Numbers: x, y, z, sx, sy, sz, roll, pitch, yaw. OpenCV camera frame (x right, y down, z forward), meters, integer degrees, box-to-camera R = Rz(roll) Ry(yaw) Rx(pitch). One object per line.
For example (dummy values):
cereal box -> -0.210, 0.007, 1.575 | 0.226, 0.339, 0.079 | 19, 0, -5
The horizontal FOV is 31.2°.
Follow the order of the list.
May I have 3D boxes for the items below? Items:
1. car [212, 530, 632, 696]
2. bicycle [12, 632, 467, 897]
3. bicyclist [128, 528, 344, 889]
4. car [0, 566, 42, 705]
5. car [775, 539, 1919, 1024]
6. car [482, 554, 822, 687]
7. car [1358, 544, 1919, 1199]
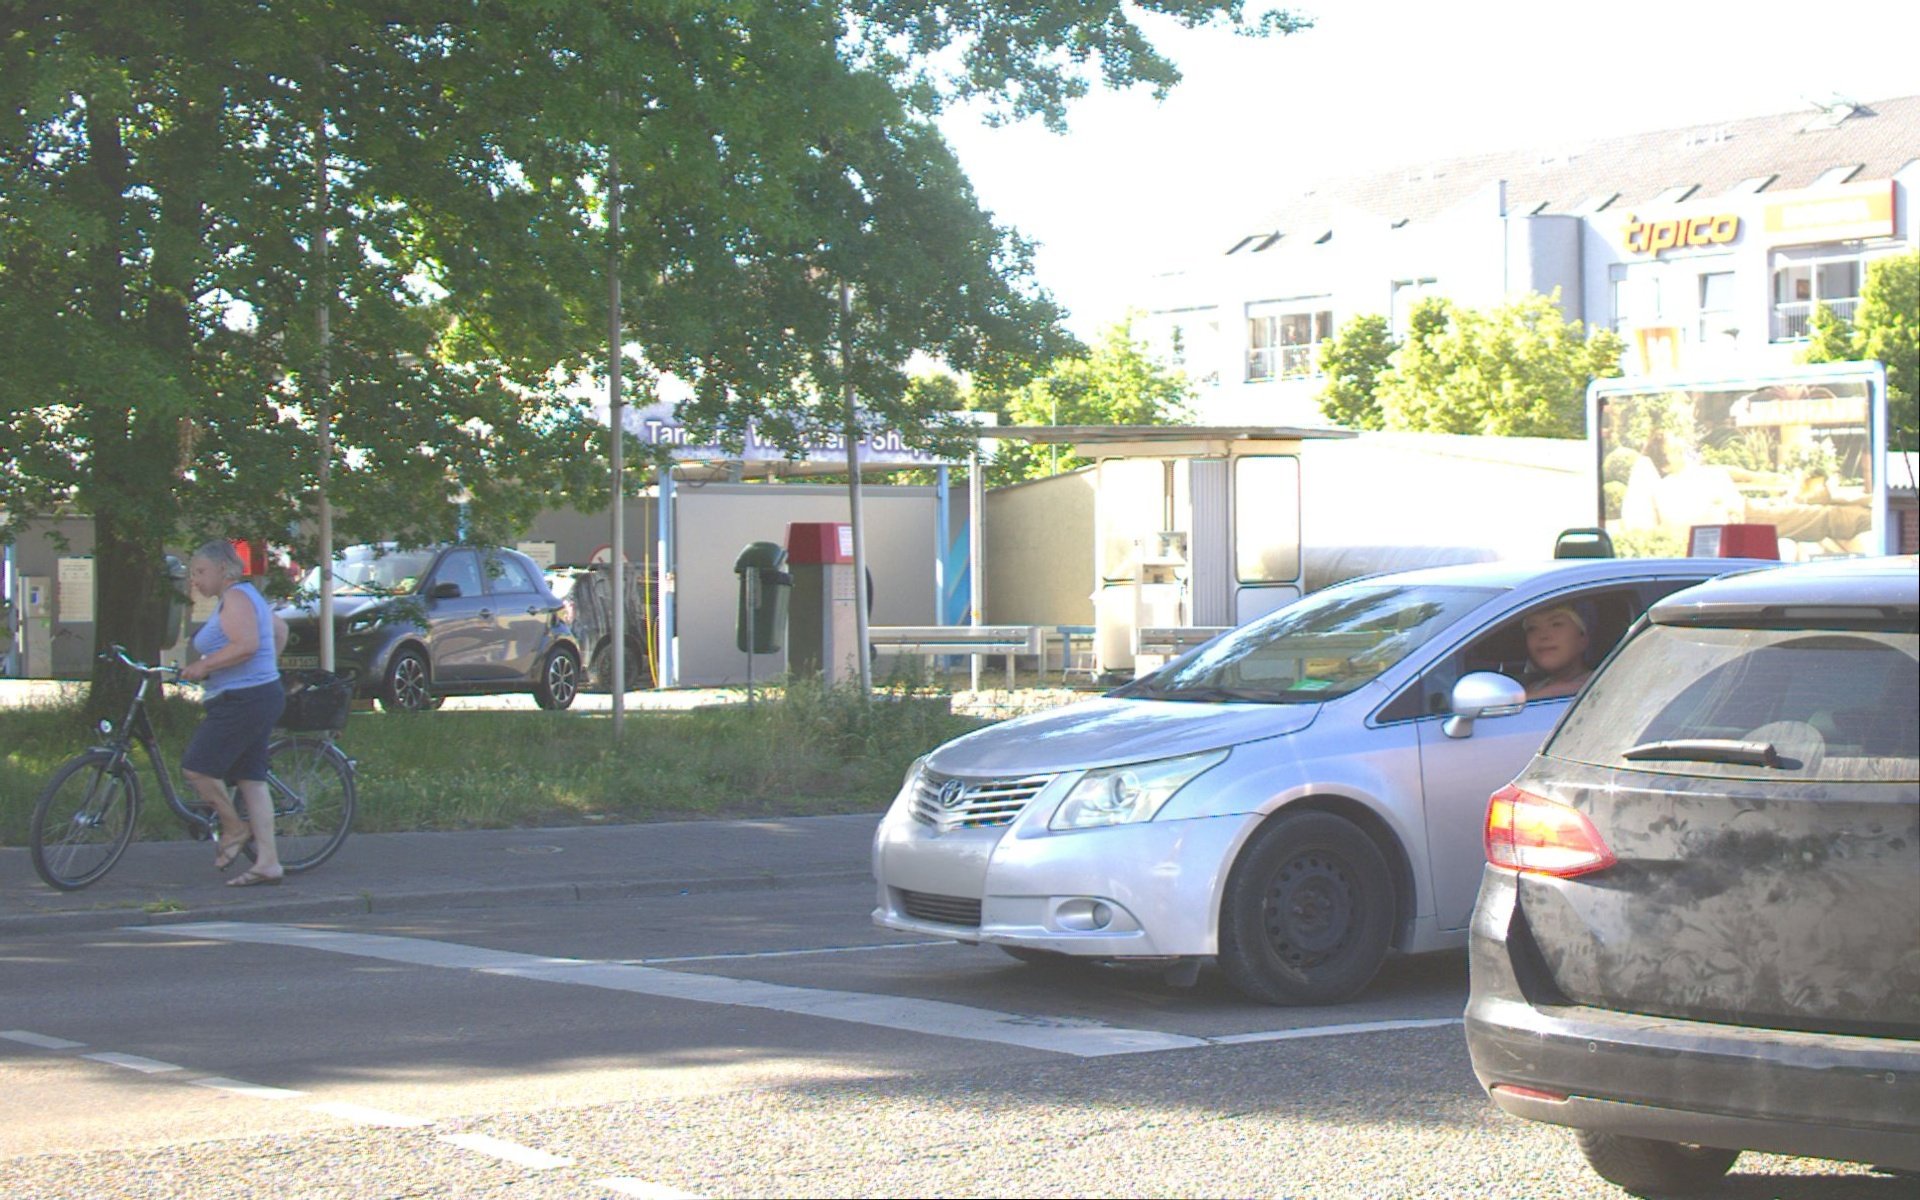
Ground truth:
car -> -4.758, 0.154, 30.980 | 1.756, 1.371, 3.994 | 0, -2, 26
bicycle -> -3.334, 0.737, 16.026 | 2.019, 1.138, 0.529 | -1, 0, -34
bicyclist -> -3.371, 0.488, 16.015 | 0.827, 1.636, 0.542 | -1, 0, -35
car -> -11.938, 0.336, 36.632 | 1.530, 1.507, 3.990 | 0, -2, 40
car -> 1.936, 0.549, 12.483 | 4.873, 1.484, 1.843 | 0, -1, -29
car -> -3.984, 0.298, 44.825 | 3.988, 1.601, 1.999 | 2, -2, -42
car -> 2.909, 0.640, 8.127 | 1.766, 1.486, 4.280 | 1, 1, 42
